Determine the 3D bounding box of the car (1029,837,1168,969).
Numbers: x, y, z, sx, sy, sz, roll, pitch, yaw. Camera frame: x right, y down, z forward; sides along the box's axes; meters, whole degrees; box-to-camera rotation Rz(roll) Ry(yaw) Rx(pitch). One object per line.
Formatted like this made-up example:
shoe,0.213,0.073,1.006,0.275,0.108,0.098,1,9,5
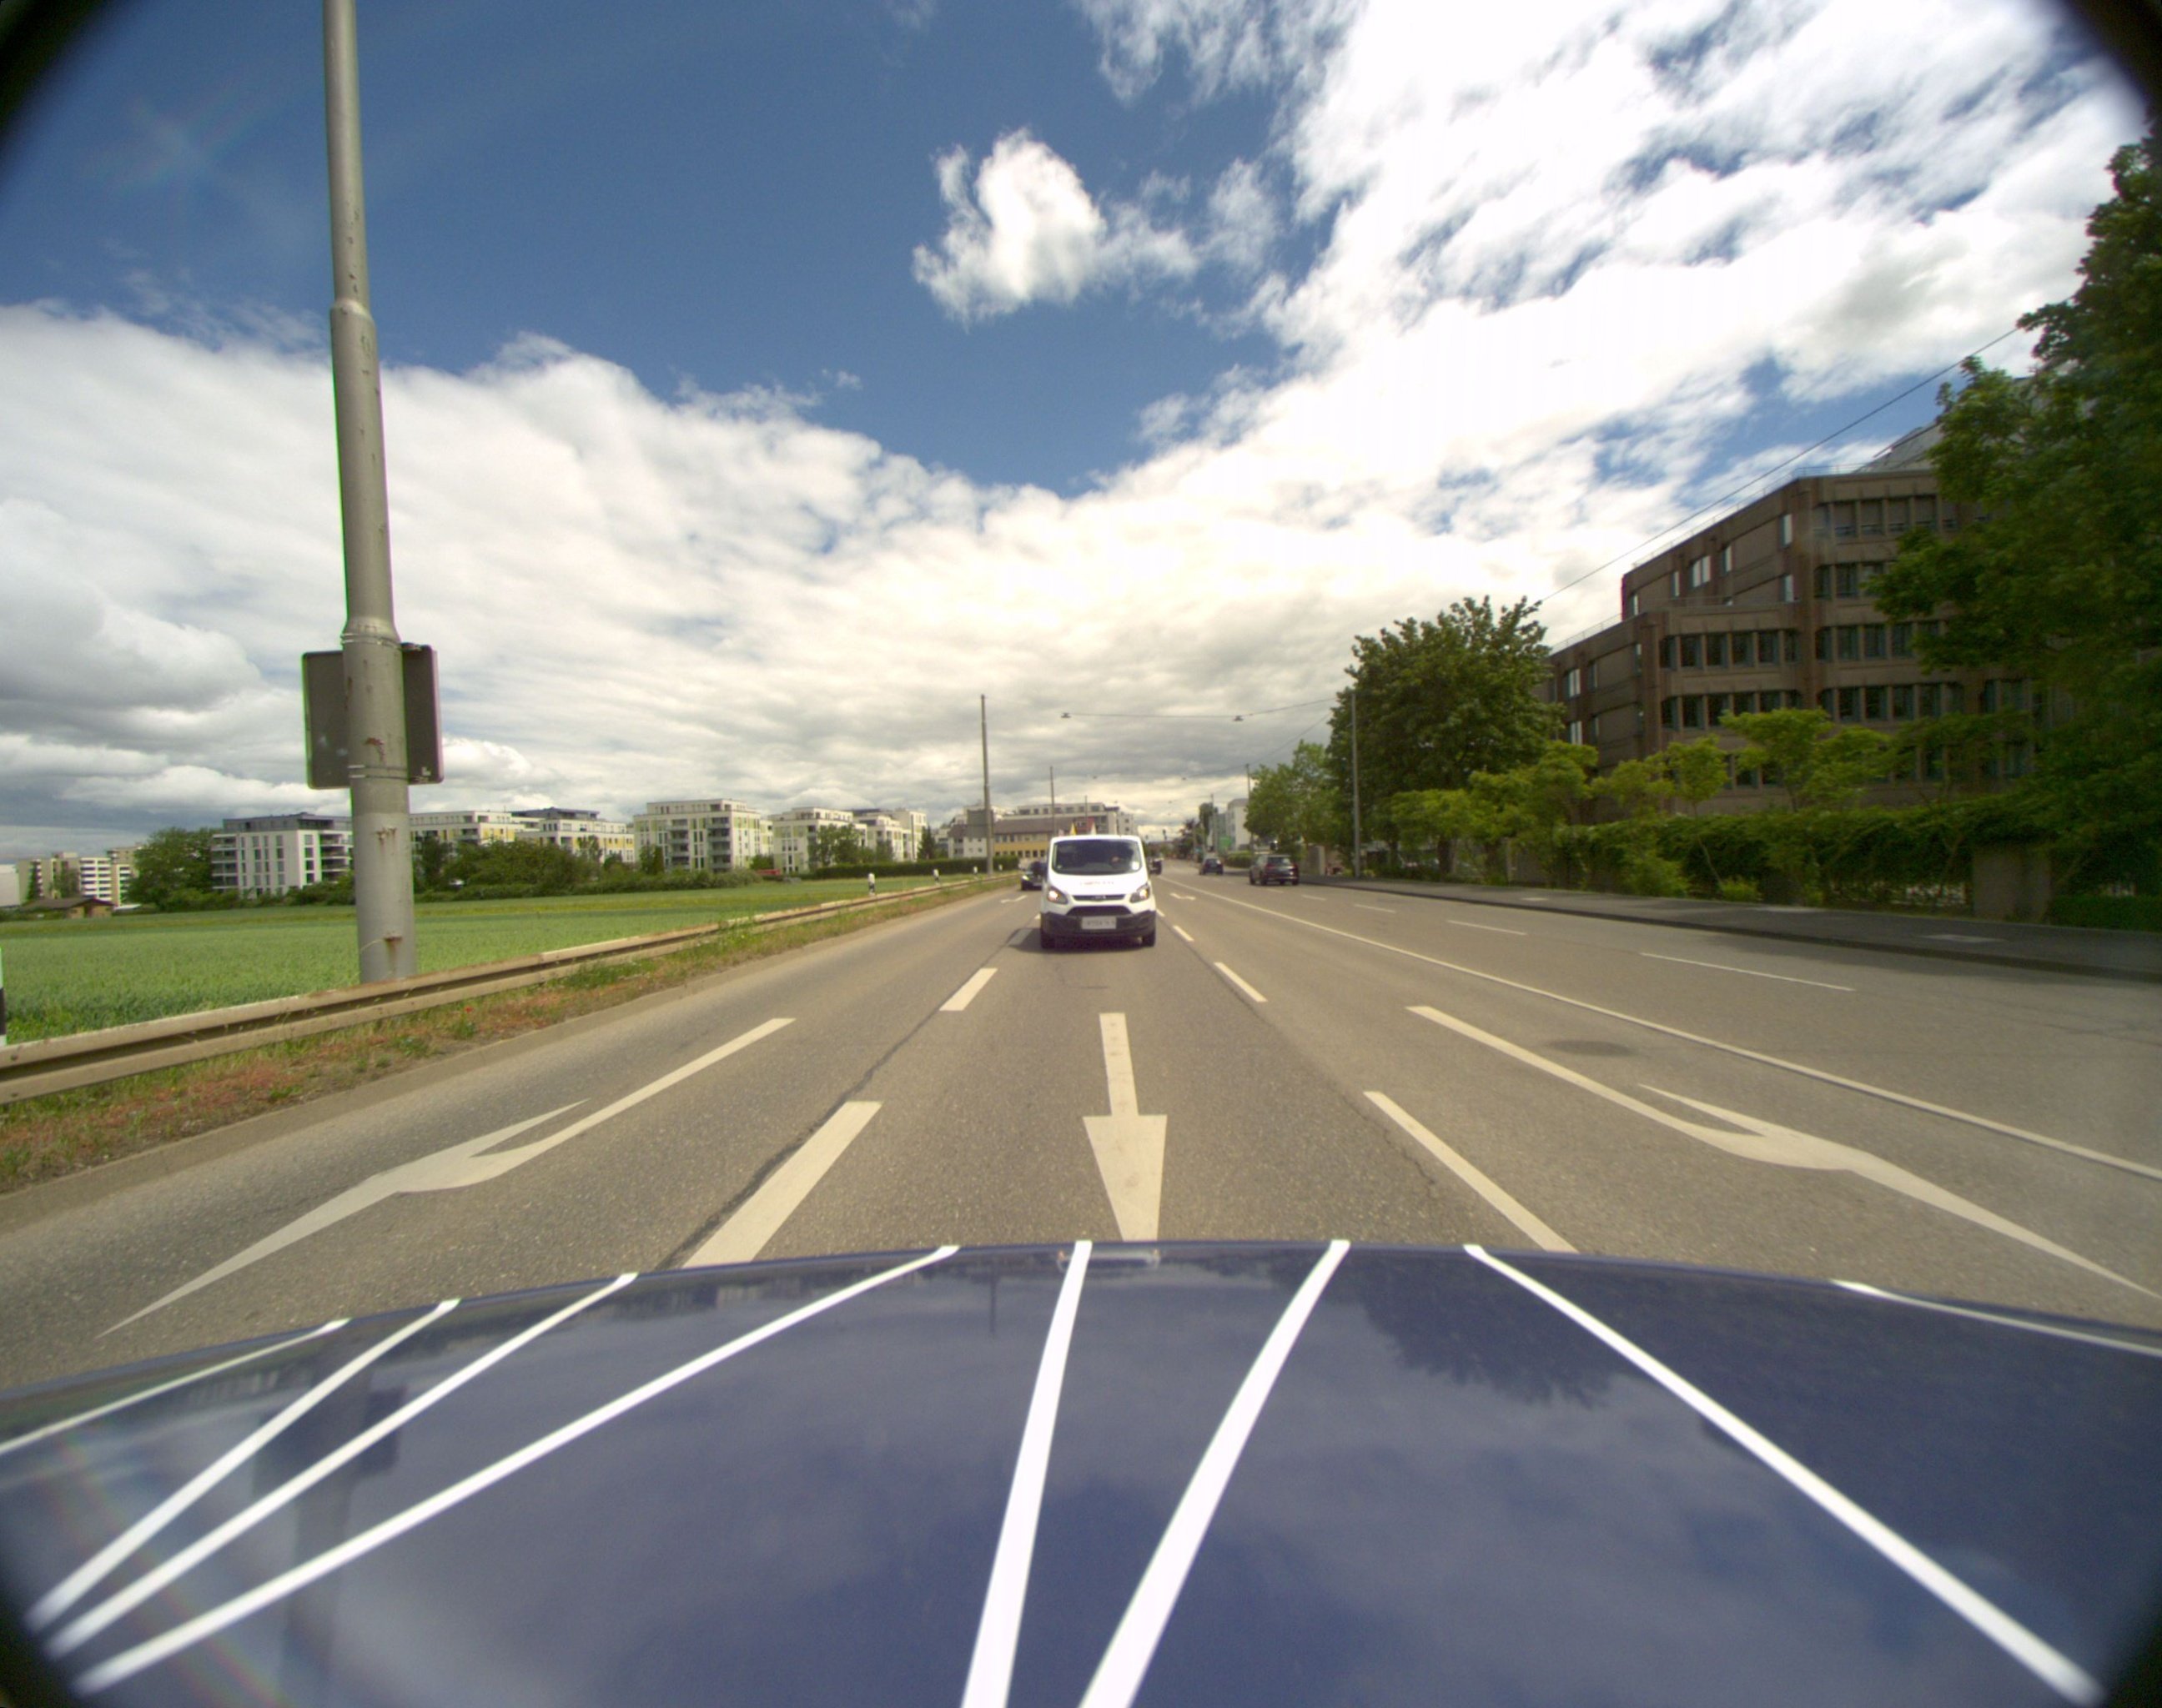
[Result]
car,0.302,0.702,14.210,1.998,1.907,5.881,-2,1,1

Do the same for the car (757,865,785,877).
car,-59.286,3.278,145.506,4.436,2.002,2.000,-2,1,1

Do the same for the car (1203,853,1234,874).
car,11.472,0.776,63.732,1.801,1.576,4.313,-3,1,1

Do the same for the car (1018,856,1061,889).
car,-2.057,0.967,38.839,1.843,1.528,4.807,-2,-2,0

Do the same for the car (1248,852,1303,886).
car,10.186,0.756,40.100,1.872,1.605,4.572,-2,1,2

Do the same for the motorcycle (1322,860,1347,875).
motorcycle,21.638,1.126,64.865,1.905,1.237,0.746,-2,1,1
